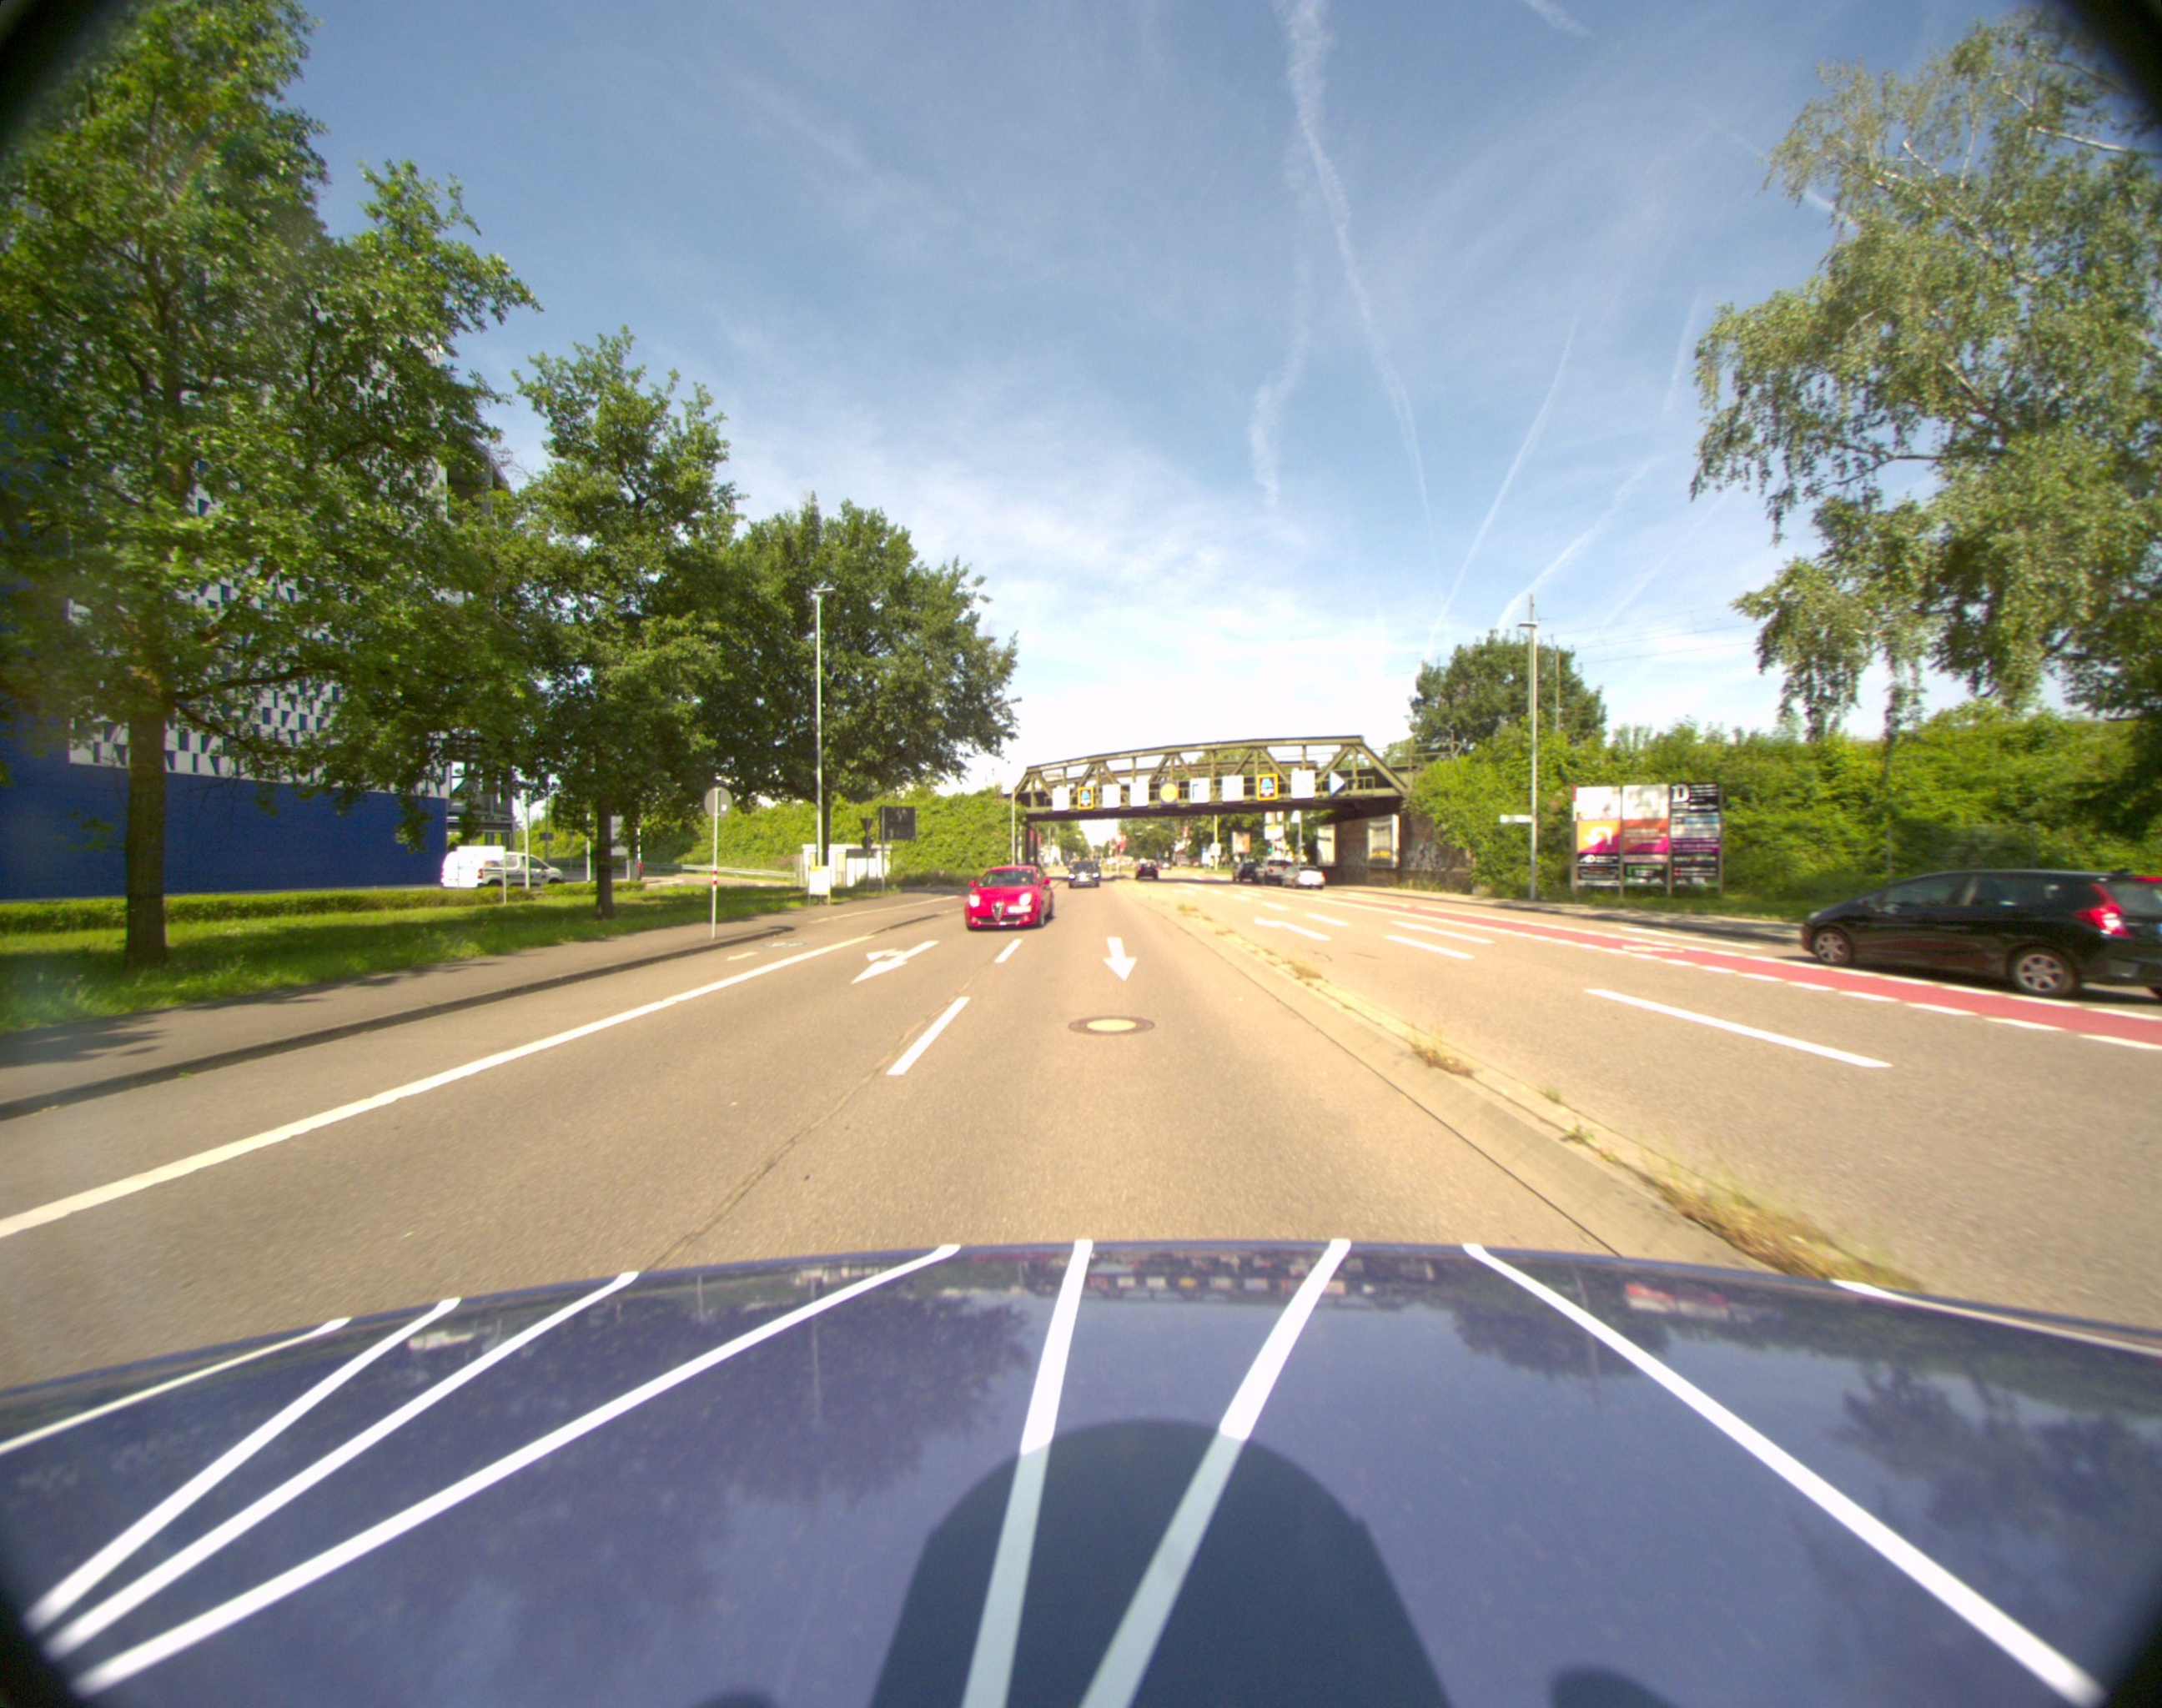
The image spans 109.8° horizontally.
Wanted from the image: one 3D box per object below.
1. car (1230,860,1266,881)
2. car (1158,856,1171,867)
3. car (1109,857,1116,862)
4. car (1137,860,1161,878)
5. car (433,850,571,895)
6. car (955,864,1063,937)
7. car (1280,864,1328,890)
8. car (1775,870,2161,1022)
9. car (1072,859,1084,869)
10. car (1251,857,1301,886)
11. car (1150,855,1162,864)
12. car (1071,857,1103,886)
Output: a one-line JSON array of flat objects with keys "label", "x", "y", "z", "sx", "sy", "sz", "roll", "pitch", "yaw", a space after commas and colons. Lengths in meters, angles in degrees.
[{"label": "car", "x": 13.293, "y": 1.257, "z": 60.693, "sx": 1.877, "sy": 1.586, "sz": 4.387, "roll": 0, "pitch": 0, "yaw": 0}, {"label": "car", "x": 14.565, "y": 1.284, "z": 132.607, "sx": 1.824, "sy": 1.711, "sz": 3.636, "roll": -2, "pitch": 0, "yaw": -2}, {"label": "car", "x": 10.185, "y": 1.876, "z": 245.667, "sx": 1.927, "sy": 1.507, "sz": 3.824, "roll": -2, "pitch": 0, "yaw": -2}, {"label": "car", "x": 5.763, "y": 1.237, "z": 65.002, "sx": 1.785, "sy": 1.438, "sz": 4.120, "roll": 0, "pitch": 0, "yaw": 1}, {"label": "car", "x": -23.022, "y": 0.672, "z": 30.445, "sx": 1.854, "sy": 1.629, "sz": 4.307, "roll": -2, "pitch": 0, "yaw": 8}, {"label": "car", "x": -1.596, "y": 1.031, "z": 18.300, "sx": 1.797, "sy": 1.446, "sz": 3.980, "roll": -1, "pitch": 1, "yaw": 6}, {"label": "car", "x": 13.162, "y": 1.319, "z": 45.026, "sx": 1.639, "sy": 1.379, "sz": 4.318, "roll": 1, "pitch": 0, "yaw": 1}, {"label": "car", "x": 11.854, "y": 1.030, "z": 10.027, "sx": 1.702, "sy": 1.510, "sz": 4.027, "roll": 1, "pitch": 0, "yaw": 0}, {"label": "car", "x": -0.500, "y": 1.669, "z": 126.554, "sx": 1.824, "sy": 1.569, "sz": 4.246, "roll": 1, "pitch": 0, "yaw": 0}, {"label": "car", "x": 13.379, "y": 1.150, "z": 52.483, "sx": 1.998, "sy": 1.850, "sz": 5.451, "roll": 2, "pitch": 0, "yaw": 0}, {"label": "car", "x": 15.840, "y": 1.198, "z": 160.588, "sx": 1.824, "sy": 1.711, "sz": 3.636, "roll": -2, "pitch": 0, "yaw": -2}, {"label": "car", "x": 0.417, "y": 1.001, "z": 45.978, "sx": 1.824, "sy": 1.632, "sz": 4.113, "roll": -2, "pitch": 0, "yaw": 2}]
